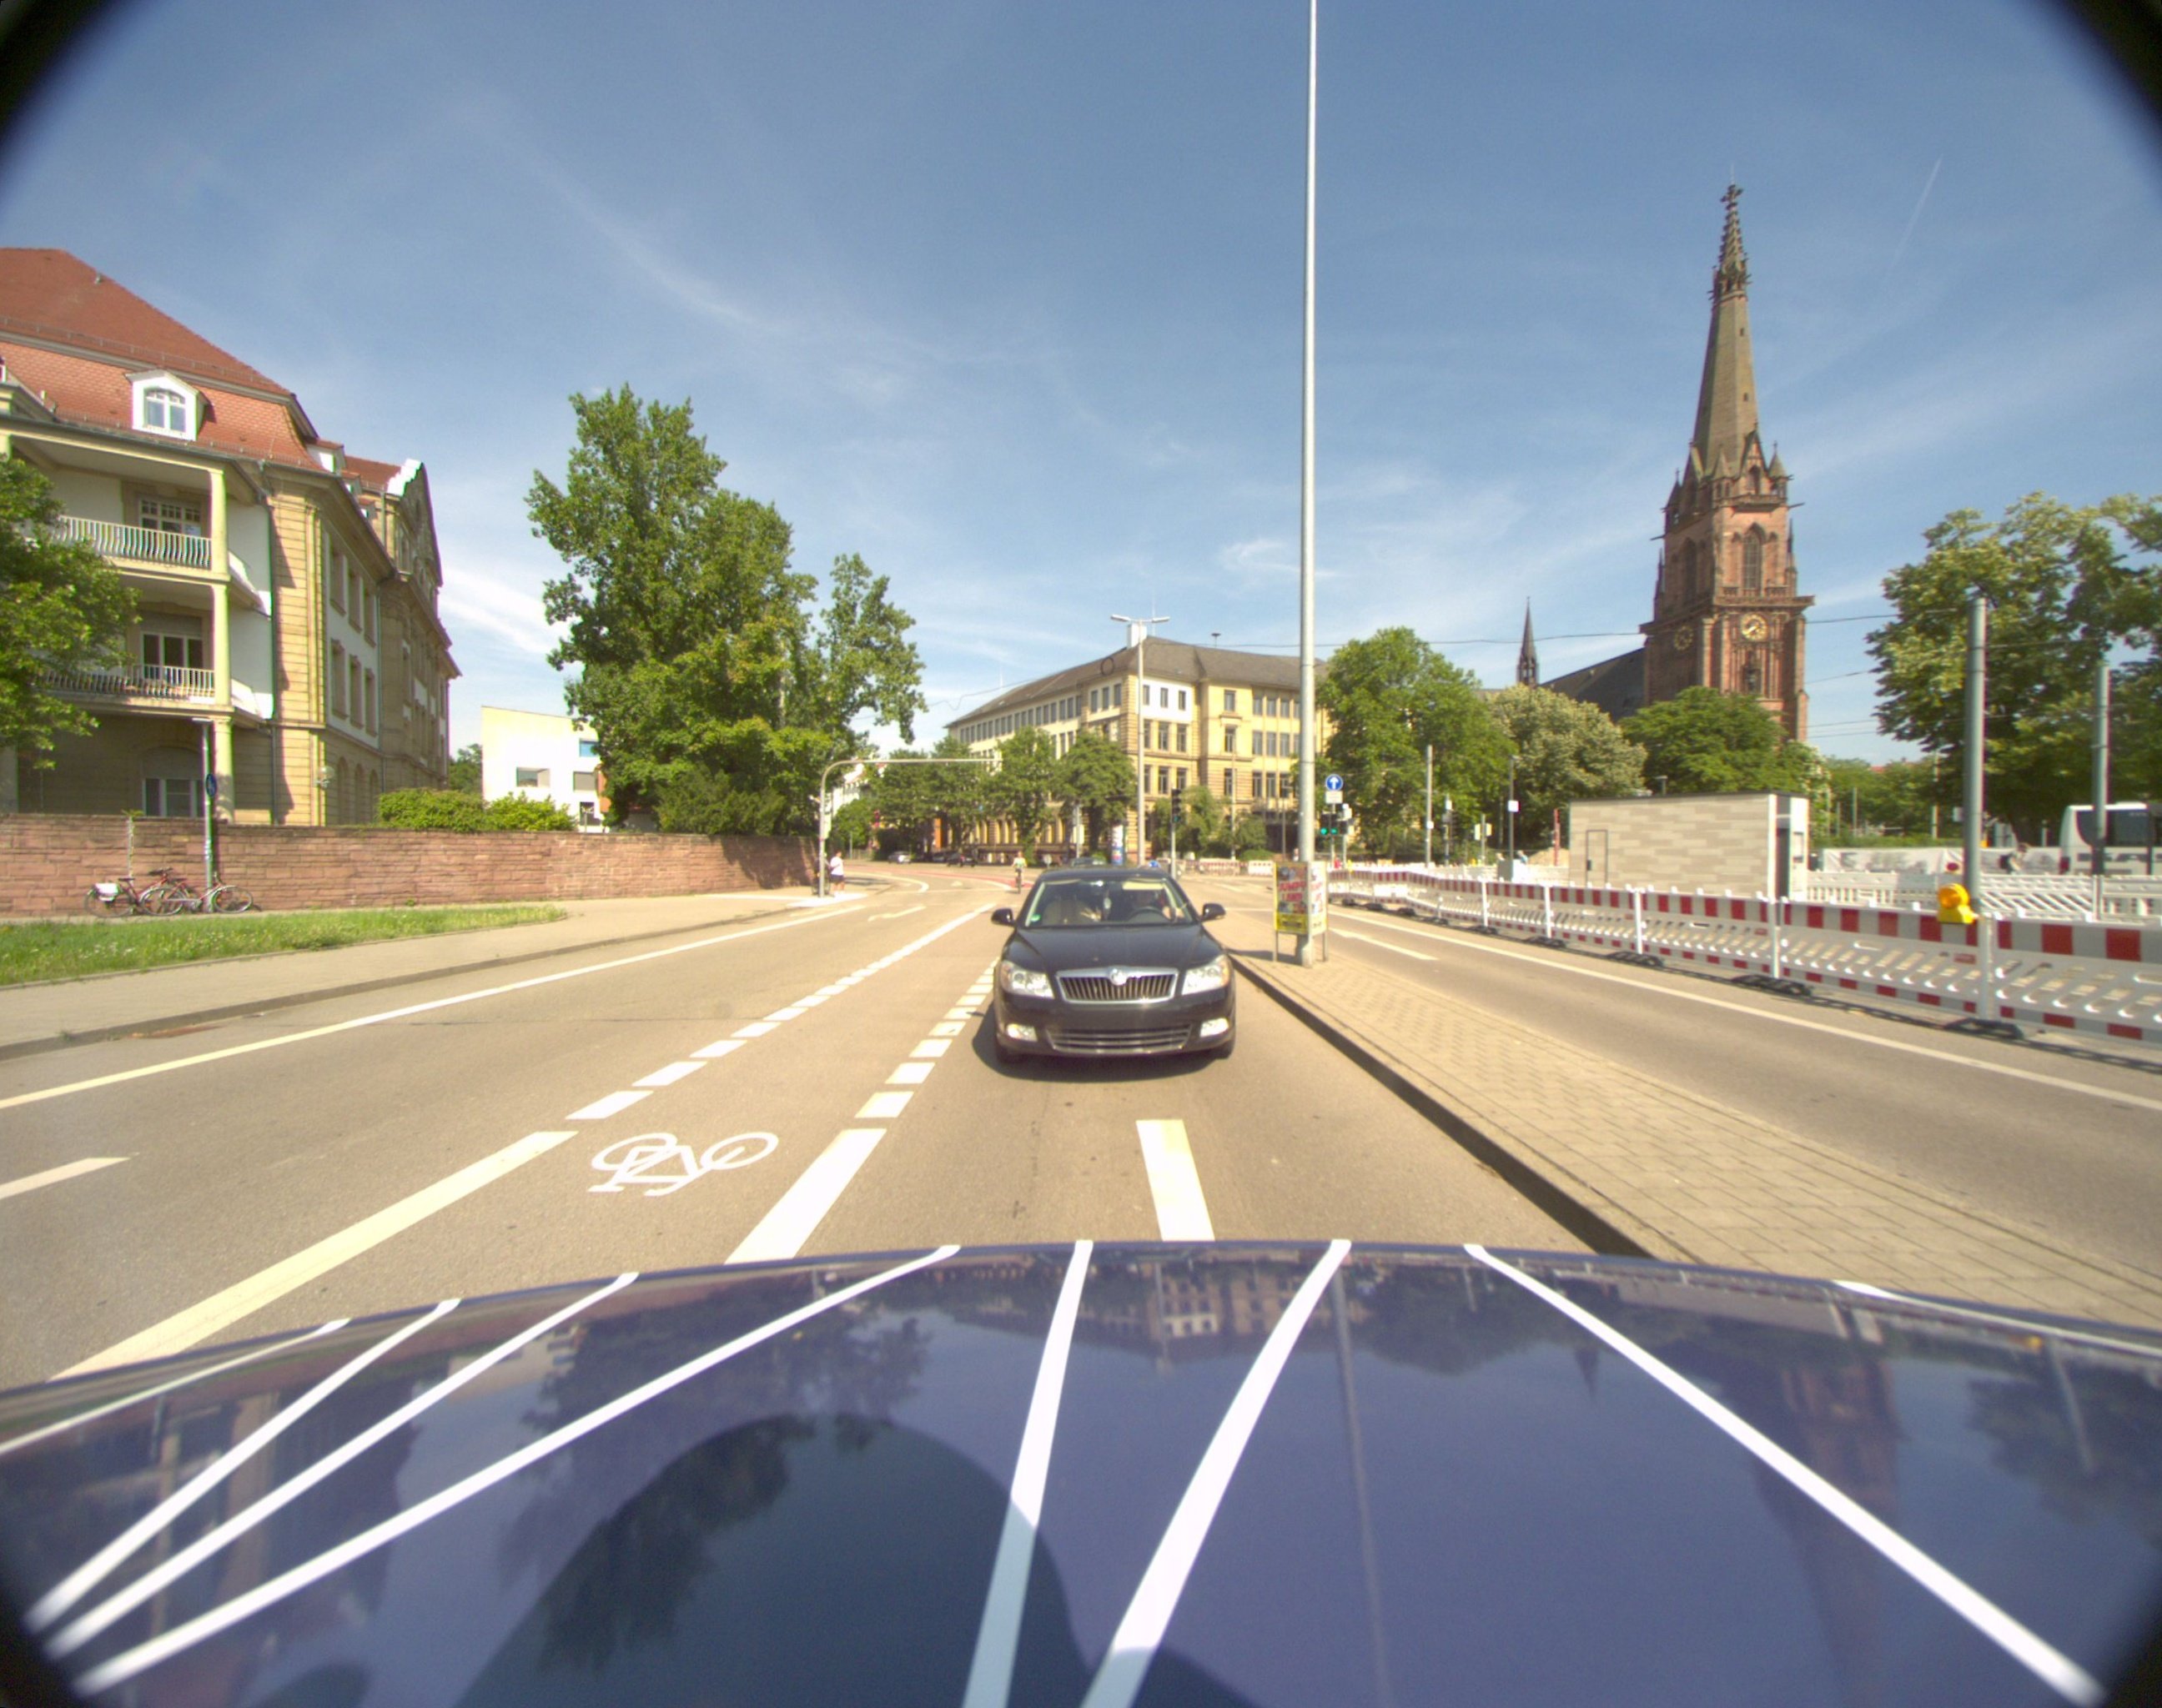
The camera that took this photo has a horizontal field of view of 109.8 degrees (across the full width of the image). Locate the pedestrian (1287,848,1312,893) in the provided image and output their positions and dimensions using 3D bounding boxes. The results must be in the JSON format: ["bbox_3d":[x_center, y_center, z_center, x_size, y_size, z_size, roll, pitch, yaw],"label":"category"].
[{"bbox_3d":[8.848,0.664,30.765,0.839,1.802,0.651,0,1,27],"label":"pedestrian"}]

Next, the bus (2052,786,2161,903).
[{"bbox_3d":[35.698,-0.243,19.773,2.867,3.469,12.624,0,1,-34],"label":"bus"}]

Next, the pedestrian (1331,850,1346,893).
[{"bbox_3d":[9.759,0.662,28.798,0.350,1.606,0.686,0,1,2],"label":"pedestrian"}]

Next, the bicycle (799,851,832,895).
[{"bbox_3d":[-10.794,0.751,30.920,0.680,1.755,1.811,1,1,1],"label":"bicycle"}]

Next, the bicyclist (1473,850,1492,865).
[{"bbox_3d":[25.369,0.197,48.029,0.684,0.922,0.867,-1,1,-38],"label":"bicyclist"}]

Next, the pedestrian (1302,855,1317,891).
[{"bbox_3d":[9.929,0.807,33.013,0.423,1.534,0.668,-3,1,3],"label":"pedestrian"}]

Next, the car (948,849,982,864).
[{"bbox_3d":[-11.809,0.228,77.001,1.675,1.442,3.806,1,1,-39],"label":"car"}]

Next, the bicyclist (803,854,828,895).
[{"bbox_3d":[-10.791,0.810,30.939,0.680,1.646,0.919,1,1,1],"label":"bicyclist"}]

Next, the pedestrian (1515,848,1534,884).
[{"bbox_3d":[19.750,0.529,33.843,0.691,1.606,0.584,-1,1,-44],"label":"pedestrian"}]

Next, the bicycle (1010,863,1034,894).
[{"bbox_3d":[-2.470,0.985,31.587,0.686,1.215,2.184,0,1,-12],"label":"bicycle"}]

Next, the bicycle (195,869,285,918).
[{"bbox_3d":[-20.513,0.949,18.553,0.348,1.116,1.438,1,1,35],"label":"bicycle"}]

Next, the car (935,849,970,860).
[{"bbox_3d":[-16.680,0.064,98.473,4.008,1.455,1.994,0,1,-35],"label":"car"}]

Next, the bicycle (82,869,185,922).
[{"bbox_3d":[-21.491,0.922,17.274,0.348,1.116,1.437,1,1,15],"label":"bicycle"}]

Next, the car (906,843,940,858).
[{"bbox_3d":[-21.175,-0.424,102.114,4.008,2.002,1.994,0,1,-35],"label":"car"}]

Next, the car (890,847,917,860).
[{"bbox_3d":[-21.359,-0.107,91.406,1.803,1.403,3.989,1,1,-34],"label":"car"}]

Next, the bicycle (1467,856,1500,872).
[{"bbox_3d":[25.411,0.608,47.965,0.703,0.941,1.661,-1,1,-39],"label":"bicycle"}]

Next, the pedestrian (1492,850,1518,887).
[{"bbox_3d":[18.818,0.645,33.709,0.662,1.606,0.793,-1,0,-7],"label":"pedestrian"}]

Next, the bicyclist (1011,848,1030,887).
[{"bbox_3d":[-2.510,0.550,31.583,0.588,1.539,0.930,-2,2,-13],"label":"bicyclist"}]

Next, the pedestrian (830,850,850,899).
[{"bbox_3d":[-9.192,0.773,29.009,0.654,1.863,0.795,2,1,-18],"label":"pedestrian"}]

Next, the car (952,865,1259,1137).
[{"bbox_3d":[0.076,0.930,7.043,1.864,1.510,4.825,0,1,-2],"label":"car"}]

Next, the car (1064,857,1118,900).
[{"bbox_3d":[0.316,0.851,28.005,1.802,1.368,4.275,-1,1,-1],"label":"car"}]

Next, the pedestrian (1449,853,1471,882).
[{"bbox_3d":[22.026,0.765,44.158,0.939,1.646,0.845,0,1,9],"label":"pedestrian"}]
